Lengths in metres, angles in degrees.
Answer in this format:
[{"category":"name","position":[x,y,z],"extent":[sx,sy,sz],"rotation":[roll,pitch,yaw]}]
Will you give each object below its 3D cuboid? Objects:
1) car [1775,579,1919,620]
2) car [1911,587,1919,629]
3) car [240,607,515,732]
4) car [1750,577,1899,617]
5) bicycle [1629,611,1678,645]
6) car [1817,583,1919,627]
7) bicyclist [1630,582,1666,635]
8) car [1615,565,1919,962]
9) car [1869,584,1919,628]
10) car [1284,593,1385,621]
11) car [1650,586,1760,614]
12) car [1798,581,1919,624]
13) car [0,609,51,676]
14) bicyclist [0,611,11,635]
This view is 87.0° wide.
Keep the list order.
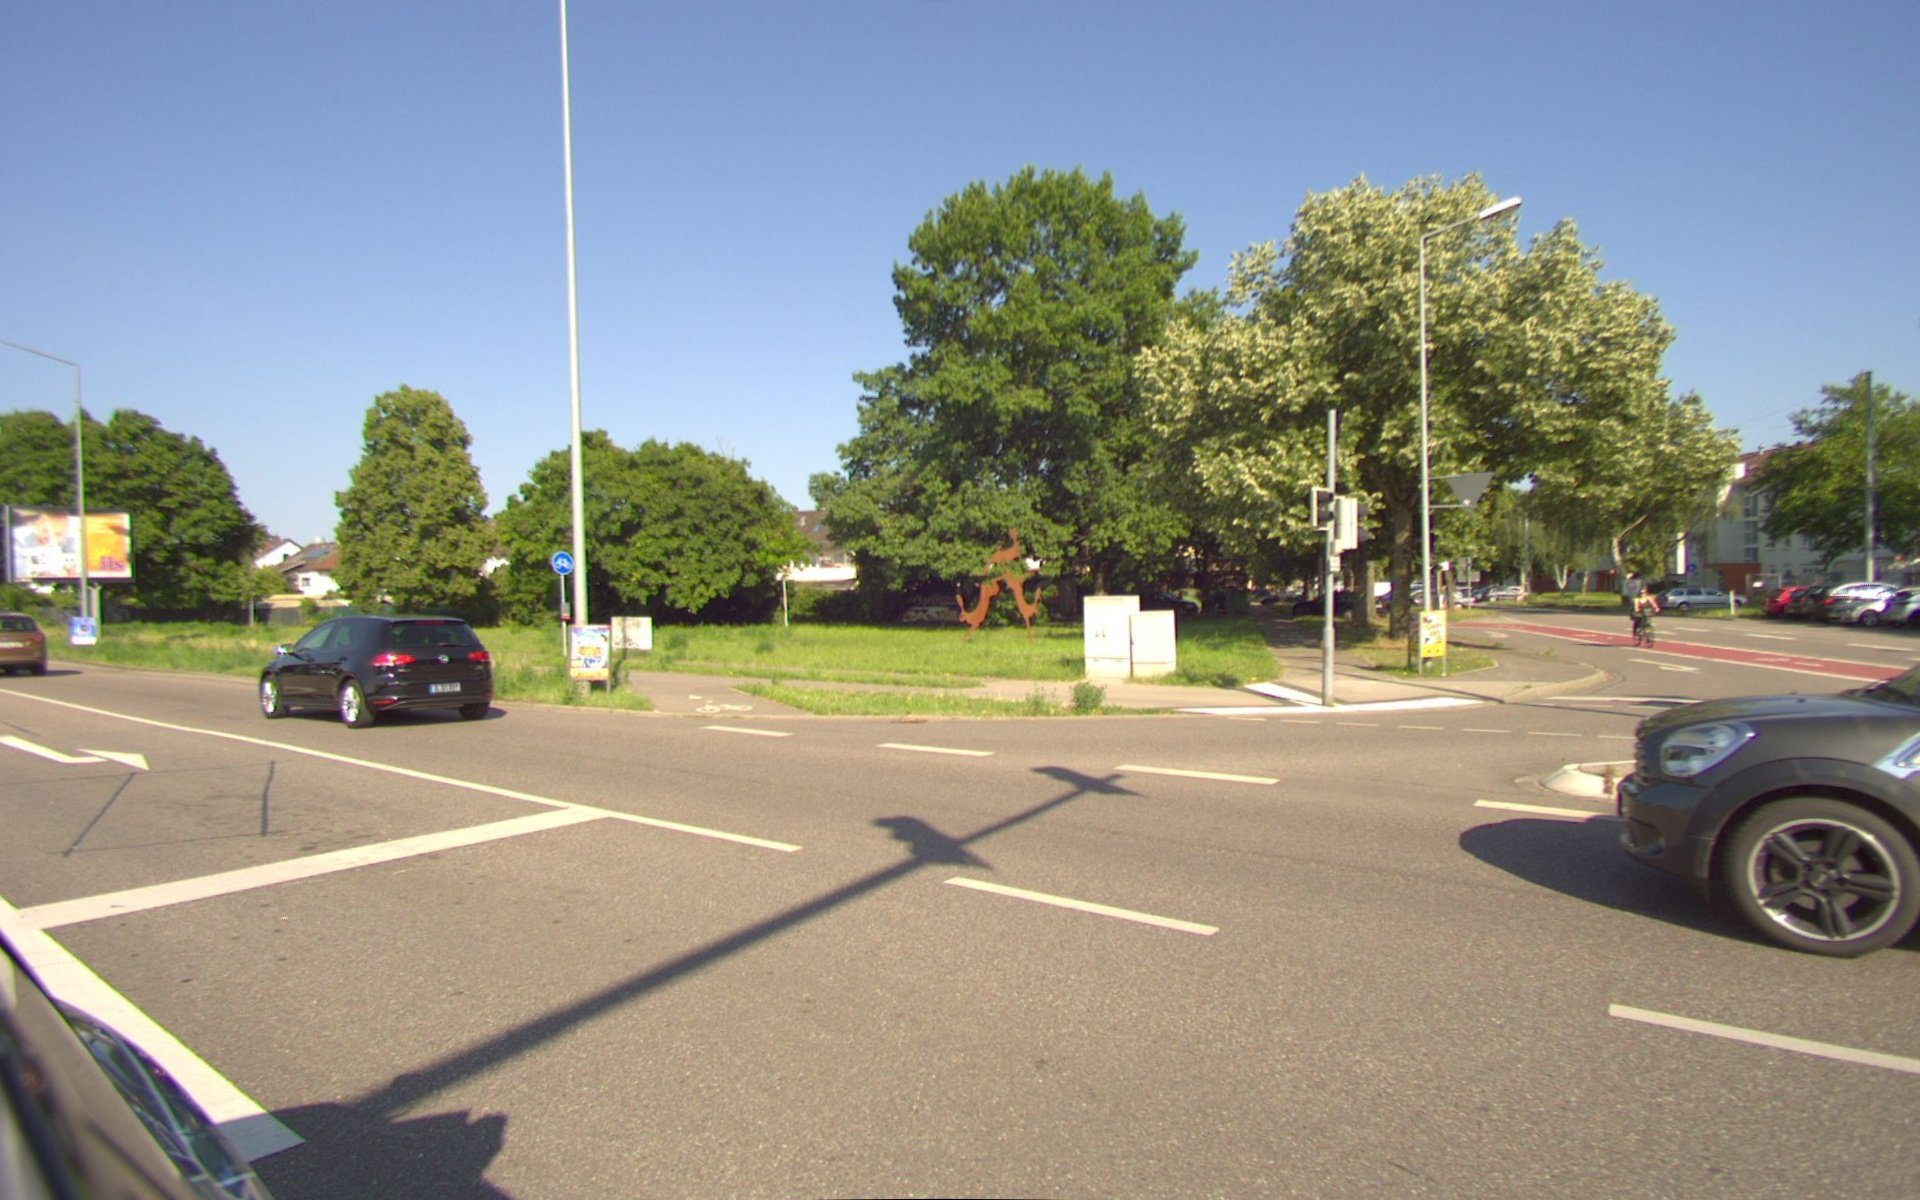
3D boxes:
[{"category":"car","position":[39.033,-0.016,44.334],"extent":[4.771,1.488,1.776],"rotation":[-4,-1,16]},{"category":"car","position":[35.851,0.109,34.375],"extent":[4.771,1.488,1.776],"rotation":[-5,-1,16]},{"category":"car","position":[-8.222,0.874,14.167],"extent":[4.092,1.485,1.871],"rotation":[-1,-1,37]},{"category":"car","position":[39.606,-0.125,46.482],"extent":[4.771,1.488,1.776],"rotation":[-4,-1,16]},{"category":"bicycle","position":[20.162,0.807,29.470],"extent":[0.649,0.910,1.799],"rotation":[-1,0,17]},{"category":"car","position":[36.723,0.160,39.341],"extent":[4.771,1.488,1.776],"rotation":[-4,-1,16]},{"category":"bicyclist","position":[20.186,0.248,29.704],"extent":[0.611,1.535,0.626],"rotation":[-2,0,7]},{"category":"car","position":[5.038,0.614,4.009],"extent":[3.993,1.531,1.772],"rotation":[-1,-1,37]},{"category":"car","position":[36.497,0.115,36.785],"extent":[4.735,1.488,1.776],"rotation":[-4,-1,16]},{"category":"car","position":[18.436,0.343,50.043],"extent":[1.500,1.330,4.784],"rotation":[-1,0,-31]},{"category":"car","position":[42.996,-0.011,58.553],"extent":[4.779,1.488,1.773],"rotation":[-1,0,21]},{"category":"car","position":[37.814,0.077,41.581],"extent":[4.771,1.488,1.776],"rotation":[-4,-1,16]},{"category":"car","position":[-24.146,1.017,24.915],"extent":[3.990,1.574,1.730],"rotation":[-1,-1,34]},{"category":"bicyclist","position":[-58.553,1.399,61.827],"extent":[1.069,1.439,0.631],"rotation":[-1,0,35]}]
